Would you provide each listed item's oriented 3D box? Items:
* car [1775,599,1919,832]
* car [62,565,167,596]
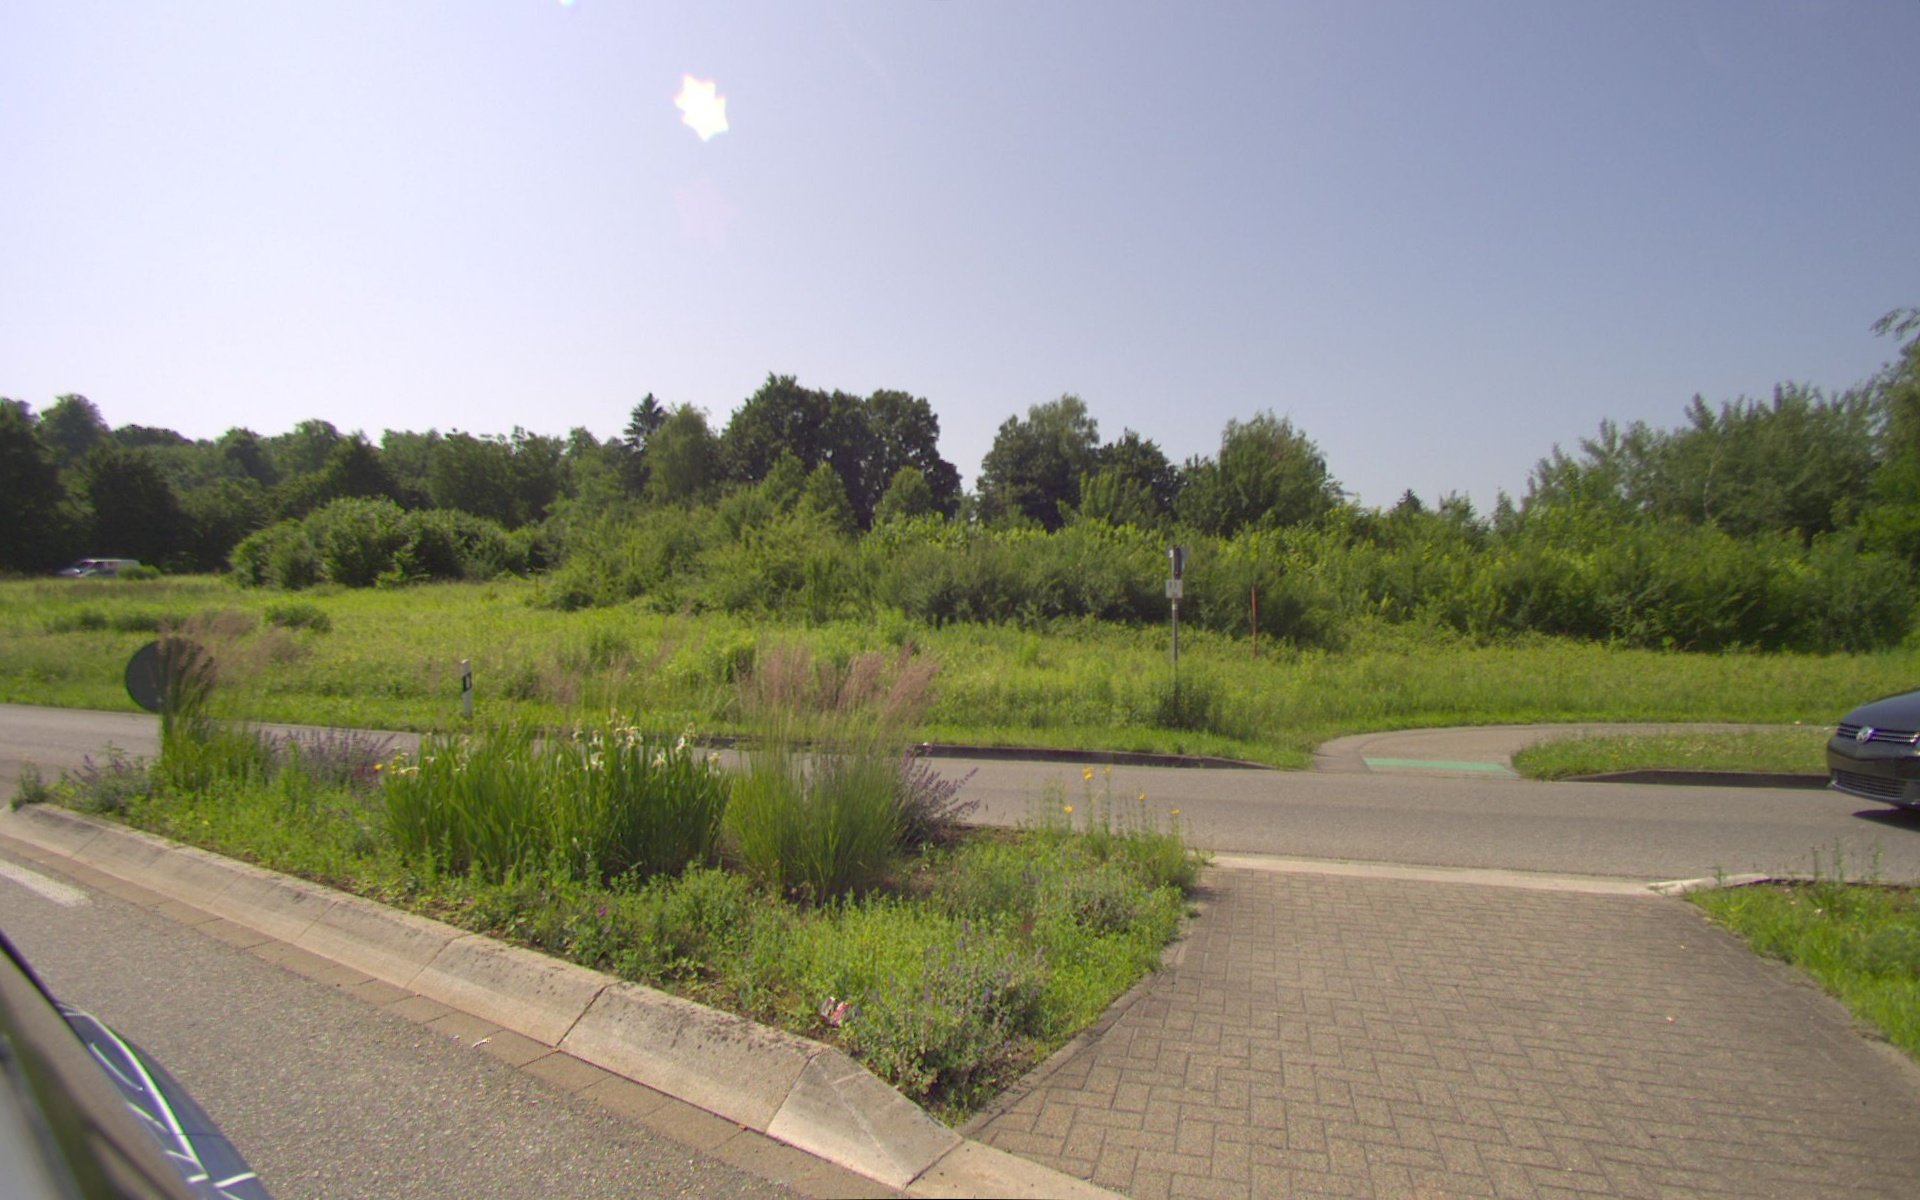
[{"bbox_3d":[8.923,0.809,7.241,4.332,1.607,1.904,-1,-3,14],"label":"car"},{"bbox_3d":[-59.752,-1.337,71.662,1.982,2.029,5.573,-1,0,16],"label":"car"}]
